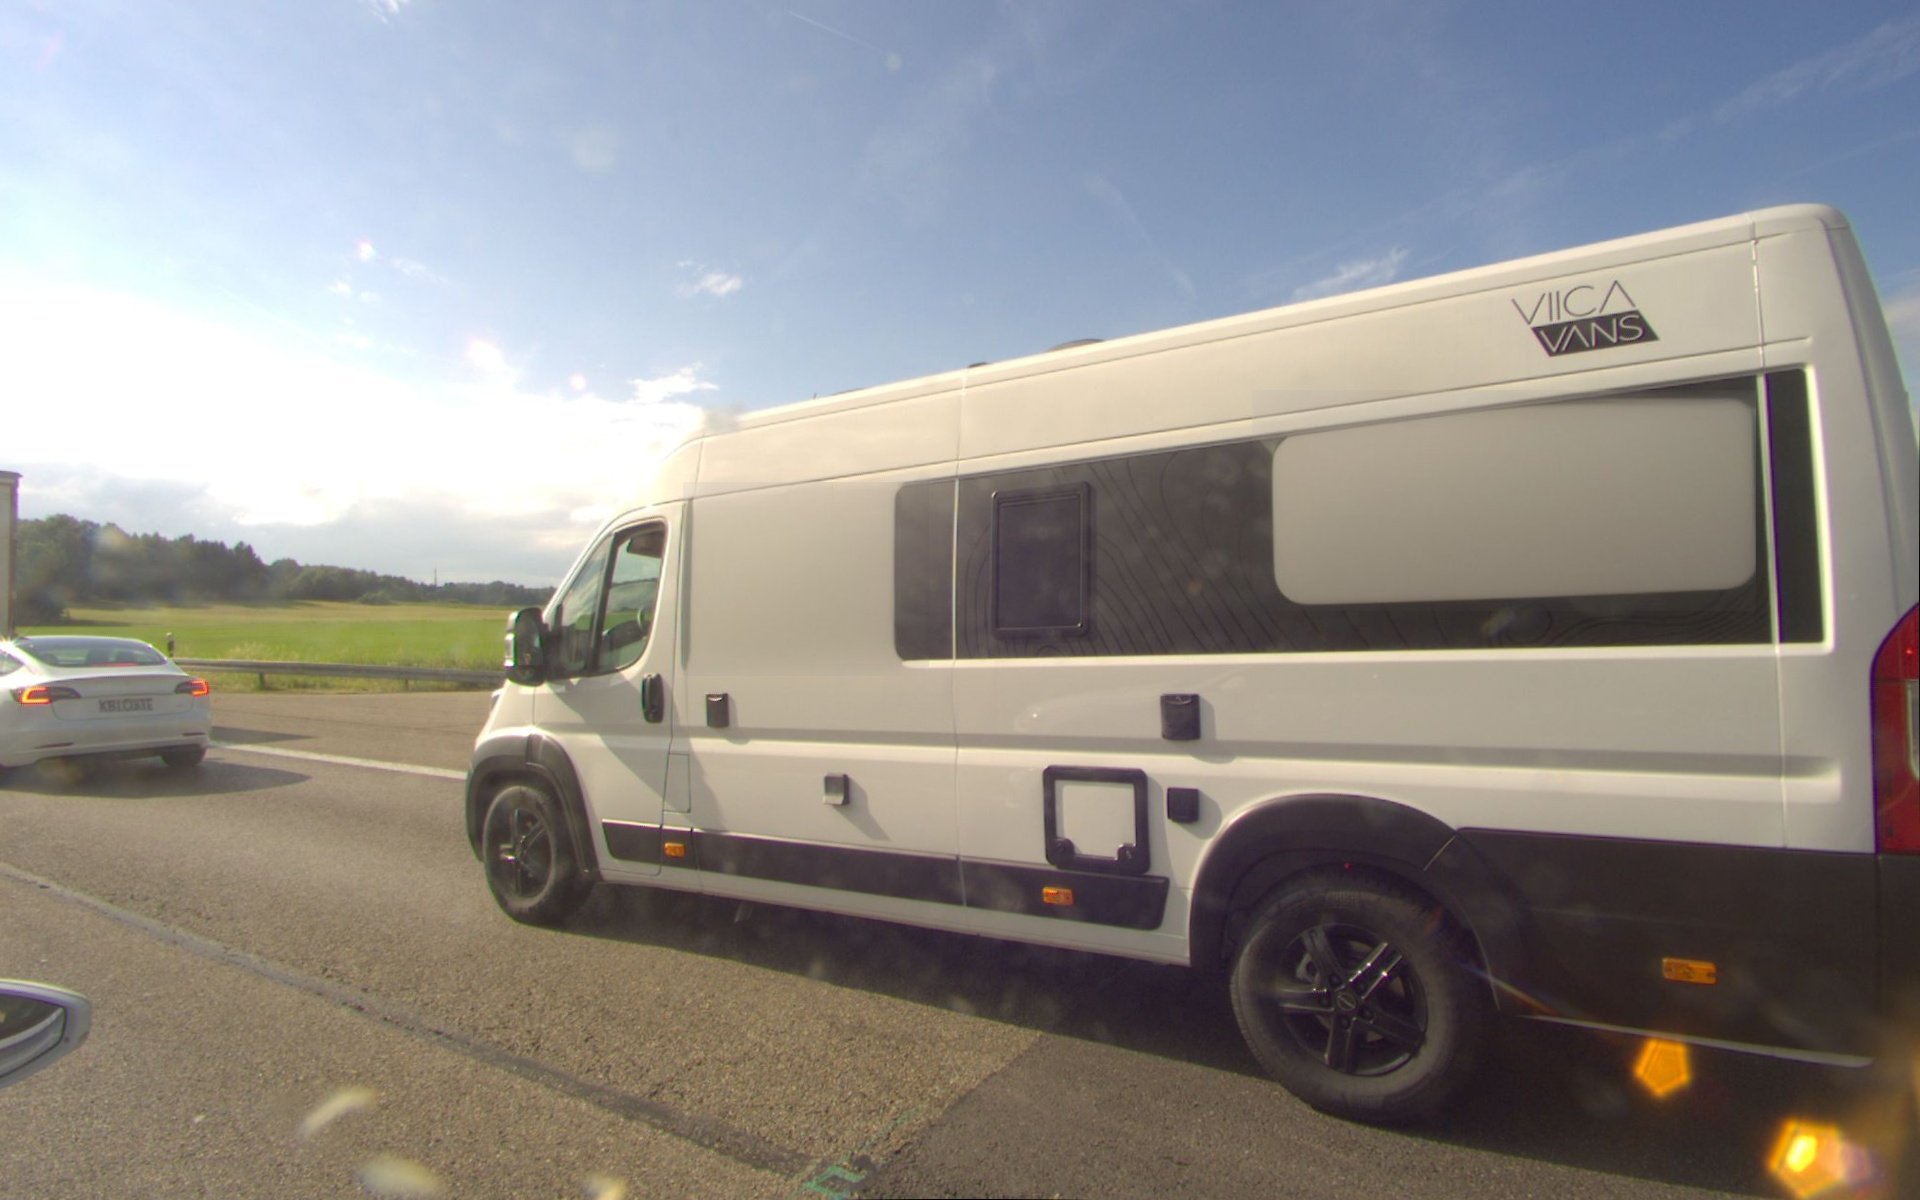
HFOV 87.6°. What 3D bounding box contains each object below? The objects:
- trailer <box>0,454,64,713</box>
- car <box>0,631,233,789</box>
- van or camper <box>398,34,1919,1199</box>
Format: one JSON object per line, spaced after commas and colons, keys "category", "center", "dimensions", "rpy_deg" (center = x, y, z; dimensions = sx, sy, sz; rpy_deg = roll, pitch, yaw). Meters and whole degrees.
{"category": "trailer", "center": [-21.019, -0.055, 18.656], "dimensions": [13.181, 4.061, 3.125], "rpy_deg": [-2, -2, 33]}
{"category": "car", "center": [-10.055, 1.056, 10.979], "dimensions": [4.371, 1.412, 1.786], "rpy_deg": [-1, -1, 30]}
{"category": "van or camper", "center": [0.216, 0.200, 4.655], "dimensions": [6.241, 2.716, 2.211], "rpy_deg": [-1, -1, 32]}
